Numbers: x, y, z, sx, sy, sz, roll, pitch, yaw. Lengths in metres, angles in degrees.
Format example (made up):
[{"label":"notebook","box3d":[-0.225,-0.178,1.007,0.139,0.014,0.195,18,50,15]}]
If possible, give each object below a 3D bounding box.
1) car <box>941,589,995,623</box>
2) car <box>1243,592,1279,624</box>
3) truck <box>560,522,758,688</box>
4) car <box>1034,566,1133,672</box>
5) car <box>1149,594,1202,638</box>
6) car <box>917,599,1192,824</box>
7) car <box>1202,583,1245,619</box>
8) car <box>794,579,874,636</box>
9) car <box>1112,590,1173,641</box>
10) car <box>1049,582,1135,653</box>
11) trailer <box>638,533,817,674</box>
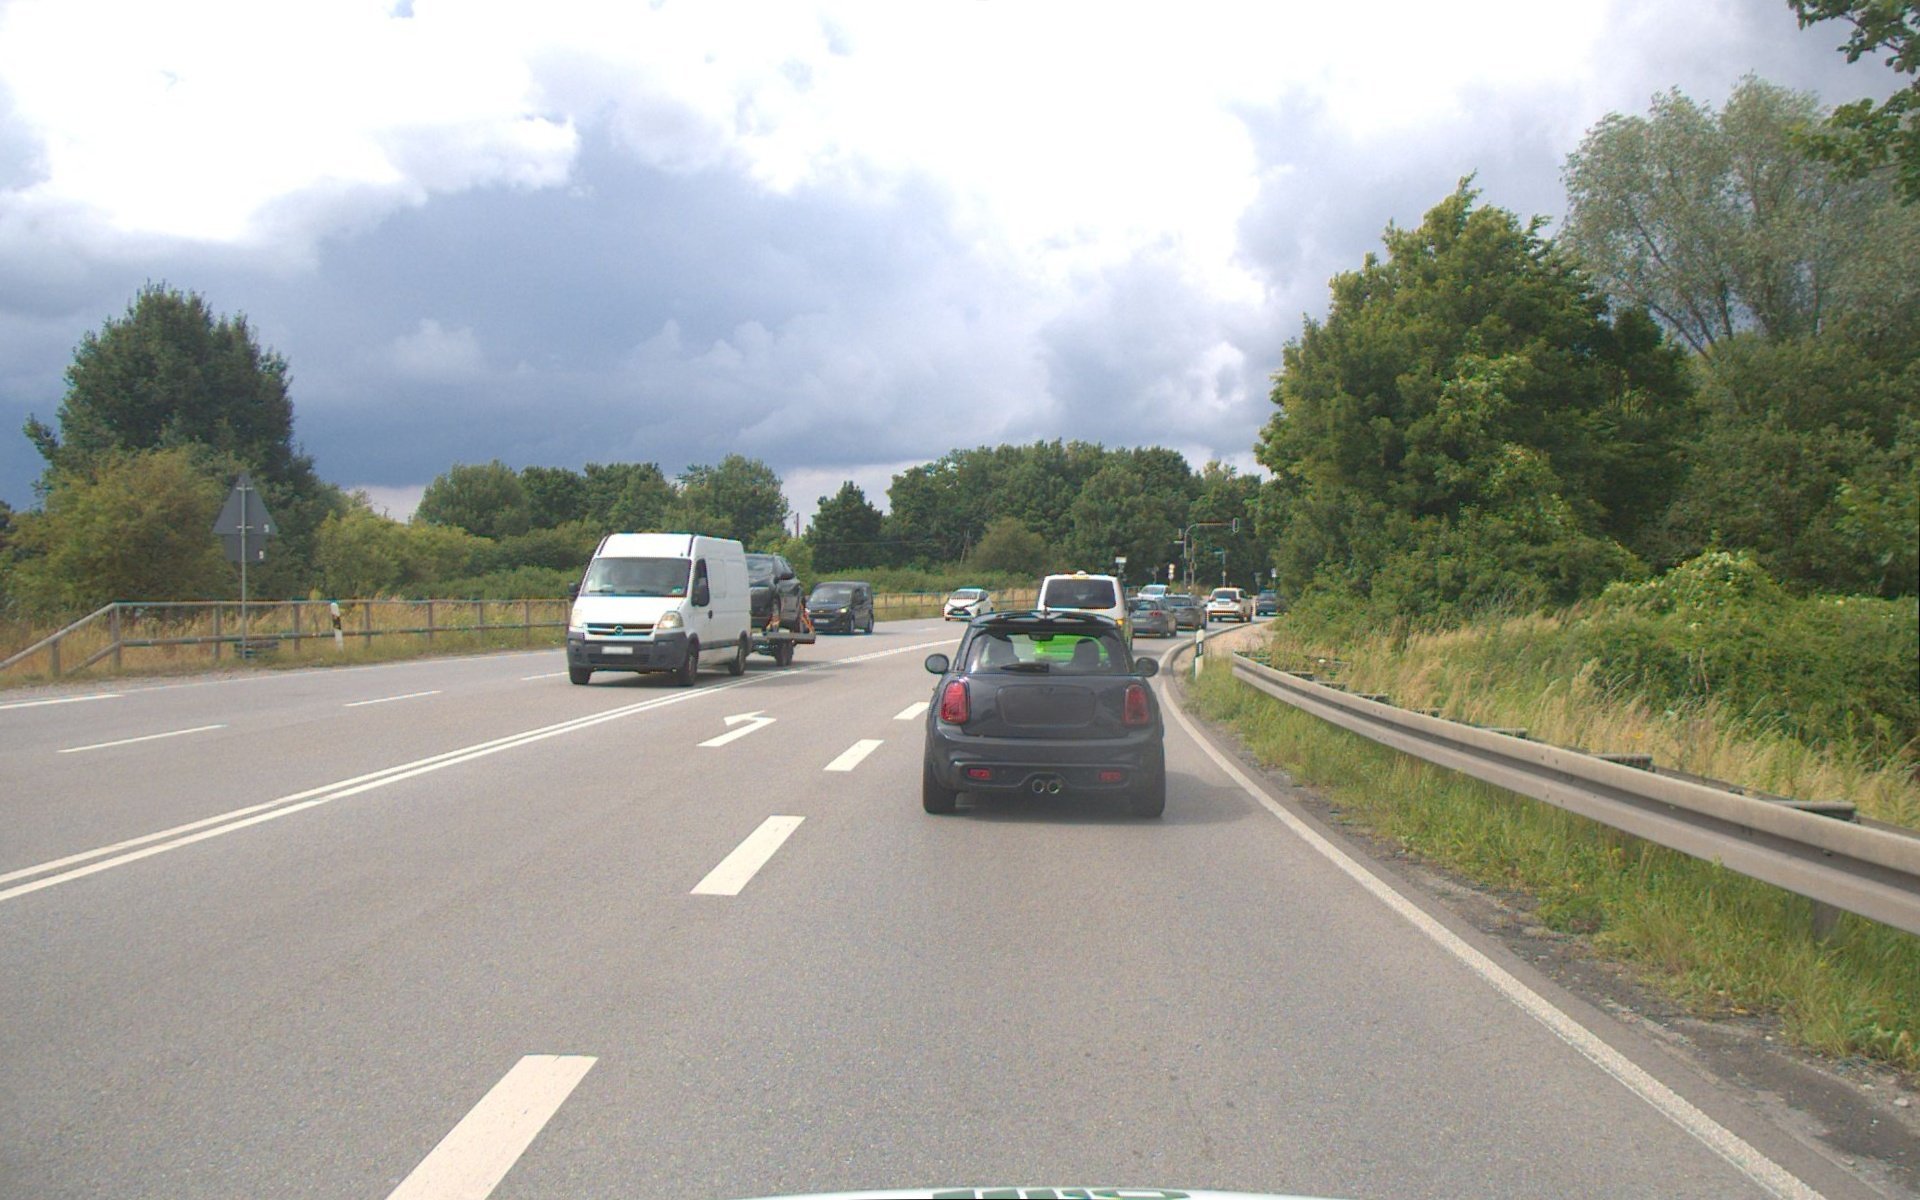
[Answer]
[{"label":"car","box3d":[0.381,0.259,77.339,1.836,1.515,3.747,1,0,11]},{"label":"car","box3d":[17.517,0.465,96.042,1.951,1.713,4.003,2,0,11]},{"label":"truck","box3d":[-4.923,0.065,27.818,1.981,2.487,5.027,1,0,5]},{"label":"car","box3d":[2.609,0.386,34.178,1.806,2.022,3.844,1,0,7]},{"label":"car","box3d":[9.159,0.684,70.009,1.951,1.713,3.980,2,0,11]},{"label":"car","box3d":[0.631,0.756,12.948,1.807,1.453,3.841,1,0,0]},{"label":"car","box3d":[13.219,0.057,82.761,1.951,1.713,4.003,2,0,11]},{"label":"car","box3d":[-4.293,0.230,57.002,1.951,1.828,4.323,1,0,6]},{"label":"car","box3d":[6.639,0.547,59.864,1.951,1.713,4.003,2,0,9]},{"label":"car","box3d":[3.465,0.452,42.707,1.951,1.713,4.003,1,0,8]},{"label":"trailer","box3d":[-4.474,0.053,33.123,1.980,2.487,6.970,1,0,5]}]
